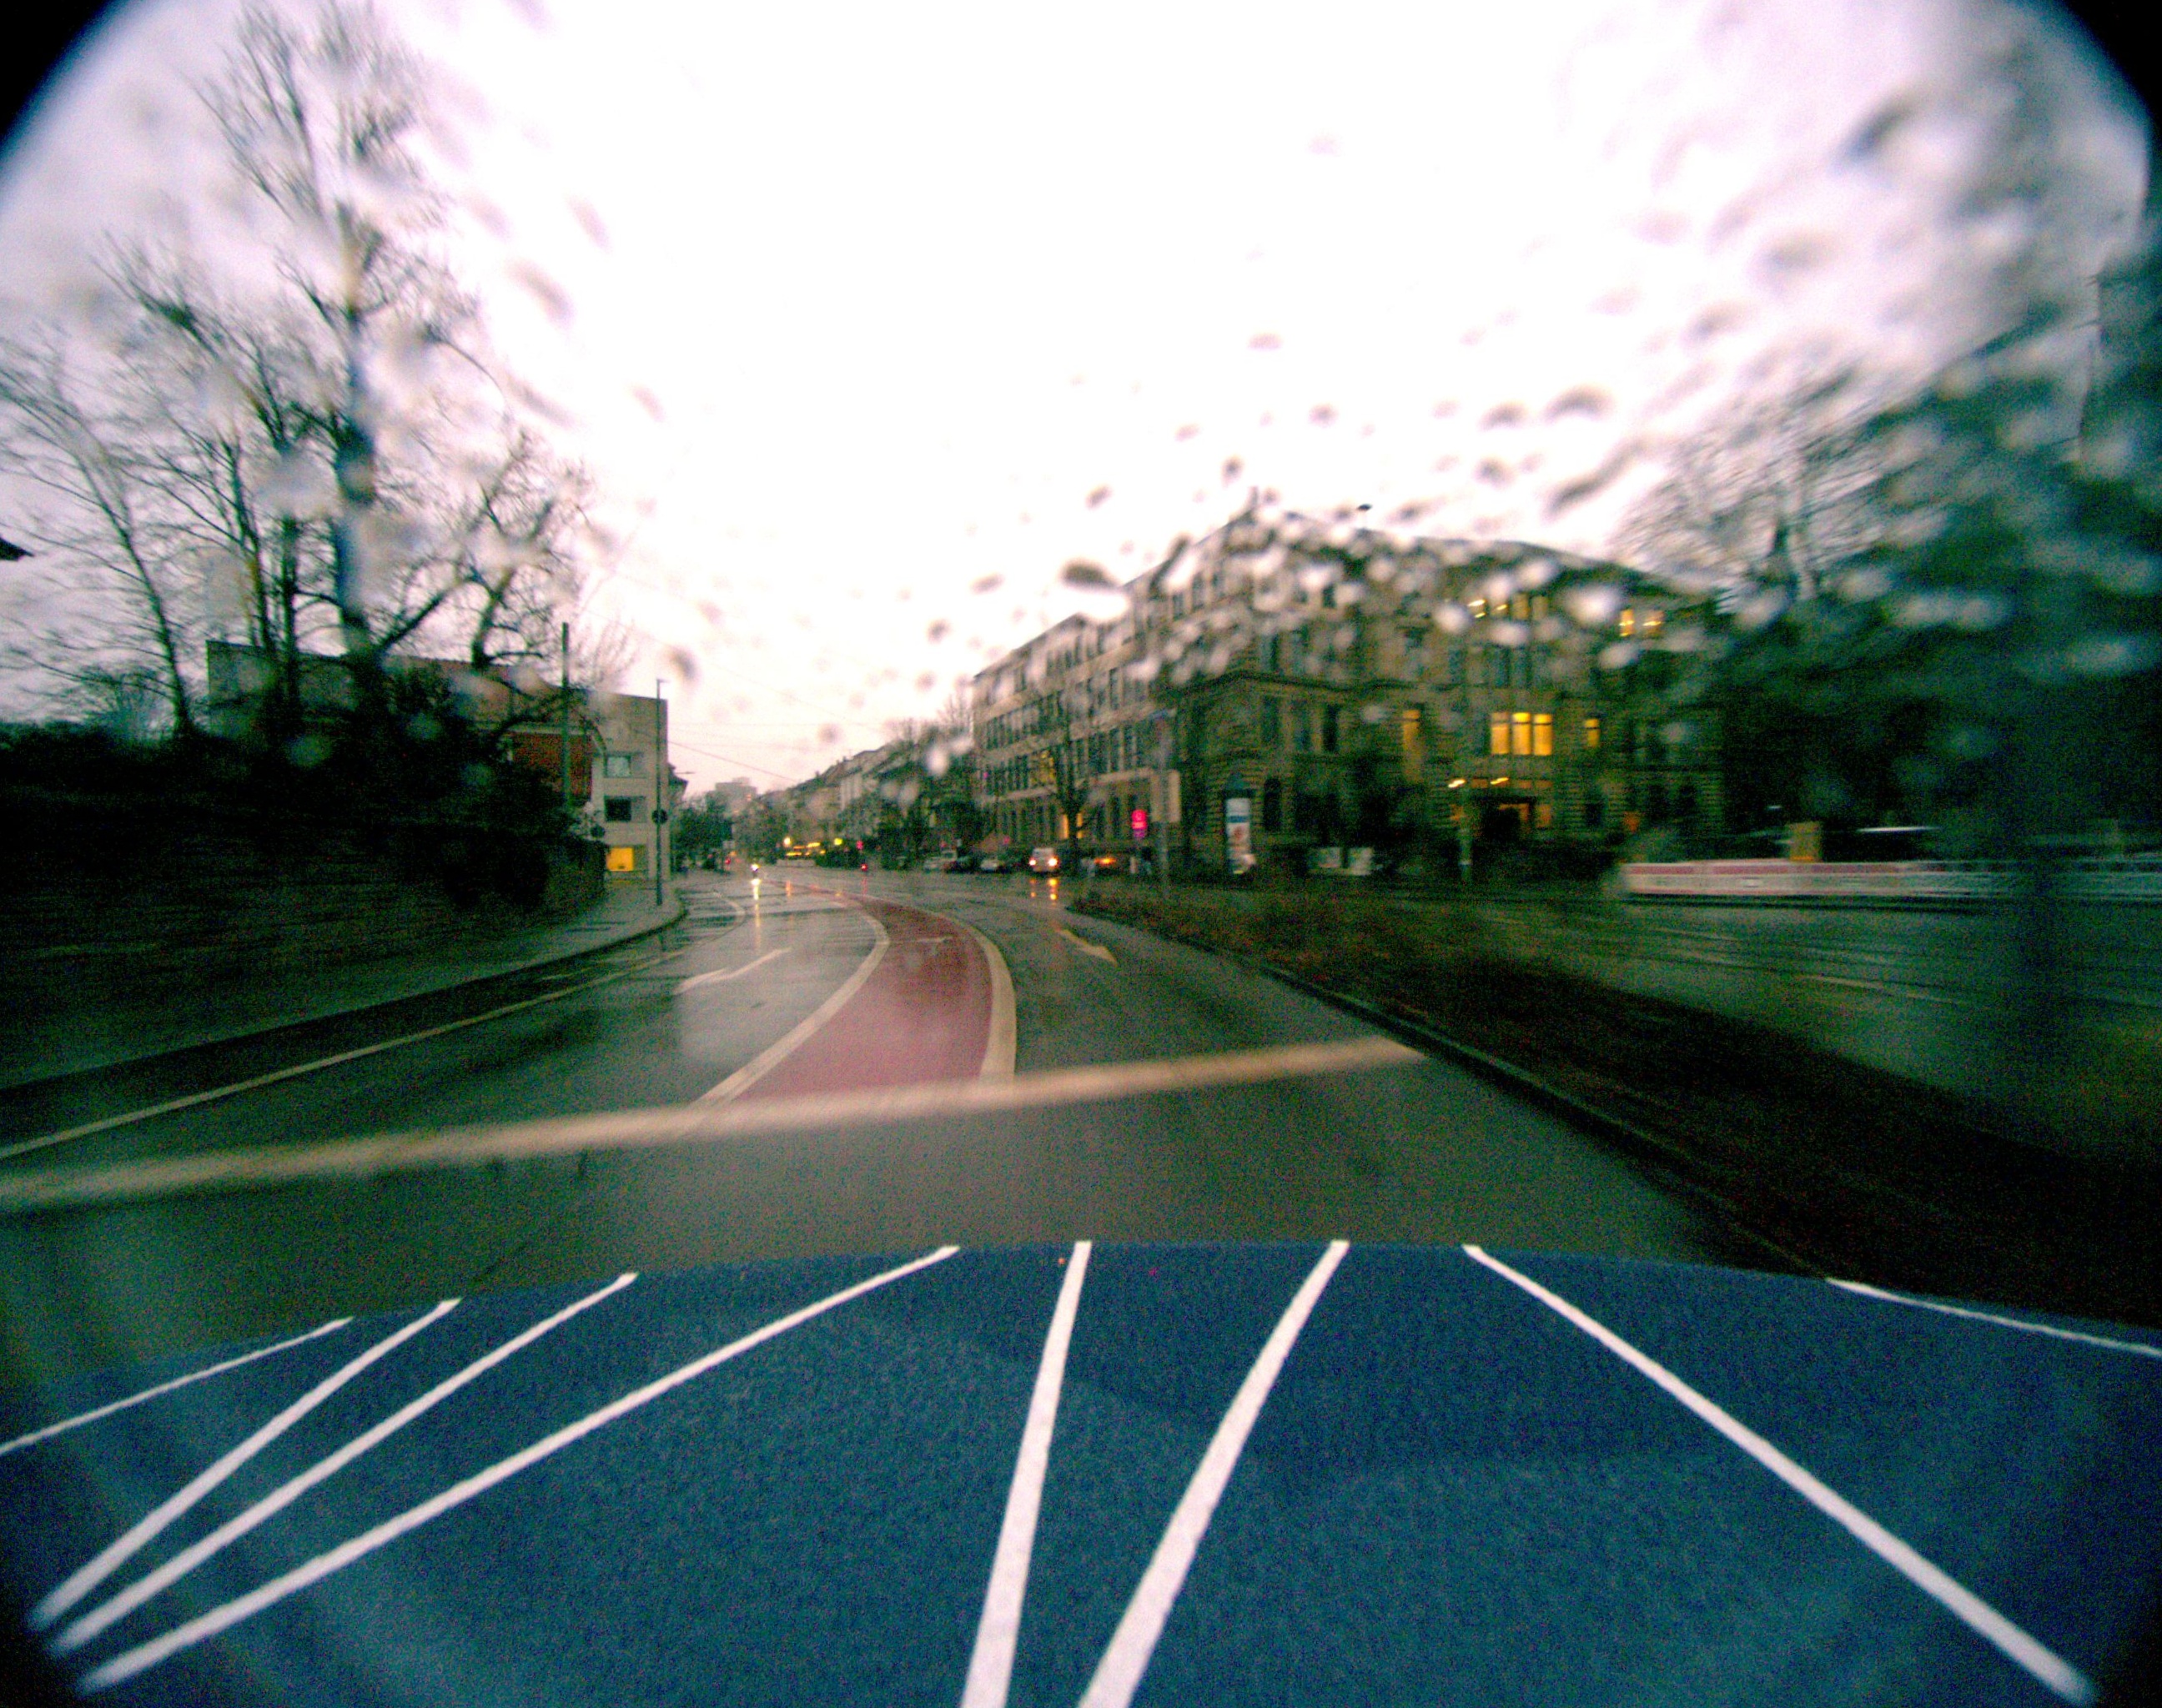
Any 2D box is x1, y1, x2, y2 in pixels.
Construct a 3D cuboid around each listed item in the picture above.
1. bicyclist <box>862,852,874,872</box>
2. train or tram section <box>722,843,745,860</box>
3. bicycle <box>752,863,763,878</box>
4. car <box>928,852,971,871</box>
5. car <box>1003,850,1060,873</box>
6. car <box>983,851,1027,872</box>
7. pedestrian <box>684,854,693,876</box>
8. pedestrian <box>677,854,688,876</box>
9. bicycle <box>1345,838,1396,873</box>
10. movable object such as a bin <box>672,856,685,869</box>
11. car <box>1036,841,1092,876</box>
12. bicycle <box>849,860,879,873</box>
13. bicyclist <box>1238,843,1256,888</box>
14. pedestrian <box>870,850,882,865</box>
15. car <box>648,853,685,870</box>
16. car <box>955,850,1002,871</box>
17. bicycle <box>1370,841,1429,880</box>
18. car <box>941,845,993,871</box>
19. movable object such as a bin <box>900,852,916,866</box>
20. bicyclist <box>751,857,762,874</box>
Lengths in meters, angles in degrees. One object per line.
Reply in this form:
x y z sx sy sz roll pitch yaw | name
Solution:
-17.349 0.649 61.865 0.858 1.586 0.779 -1 1 -24 | bicyclist
-87.600 -0.639 191.116 2.891 3.716 27.268 -4 2 -29 | train or tram section
-25.464 1.289 59.842 0.725 1.084 2.281 -3 0 -21 | bicycle
-12.748 0.737 73.872 1.770 1.582 4.191 -2 2 32 | car
-3.699 0.556 57.335 1.795 1.449 4.484 -1 2 35 | car
-6.166 0.617 61.796 1.633 1.449 3.832 -2 2 28 | car
-33.867 0.921 65.537 0.659 1.849 0.658 0 1 -27 | pedestrian
-34.269 0.911 65.326 0.775 1.848 0.717 0 1 -27 | pedestrian
15.064 0.086 39.582 2.424 1.679 0.714 -2 3 22 | bicycle
-45.271 0.938 85.474 1.262 1.437 1.415 -1 1 -28 | movable object such as a bin
-1.098 0.269 52.192 1.908 2.022 4.810 -2 2 24 | car
-17.656 0.991 61.783 2.125 0.939 0.942 -4 2 -25 | bicycle
6.633 0.465 30.277 0.611 1.758 0.589 -2 3 15 | bicyclist
-23.770 0.424 88.107 0.945 1.694 0.925 -1 3 39 | pedestrian
-46.362 0.790 85.055 3.465 1.638 1.728 -4 2 -29 | car
-8.852 0.523 65.958 1.819 1.531 3.983 -1 2 34 | car
14.646 0.300 35.017 2.424 1.679 0.714 -2 3 22 | bicycle
-10.261 0.348 68.841 1.961 2.042 4.630 -1 2 34 | car
-19.128 0.598 83.928 1.341 1.456 0.987 -2 3 24 | movable object such as a bin
-25.616 0.896 59.959 0.718 1.335 0.718 -4 3 -22 | bicyclist
